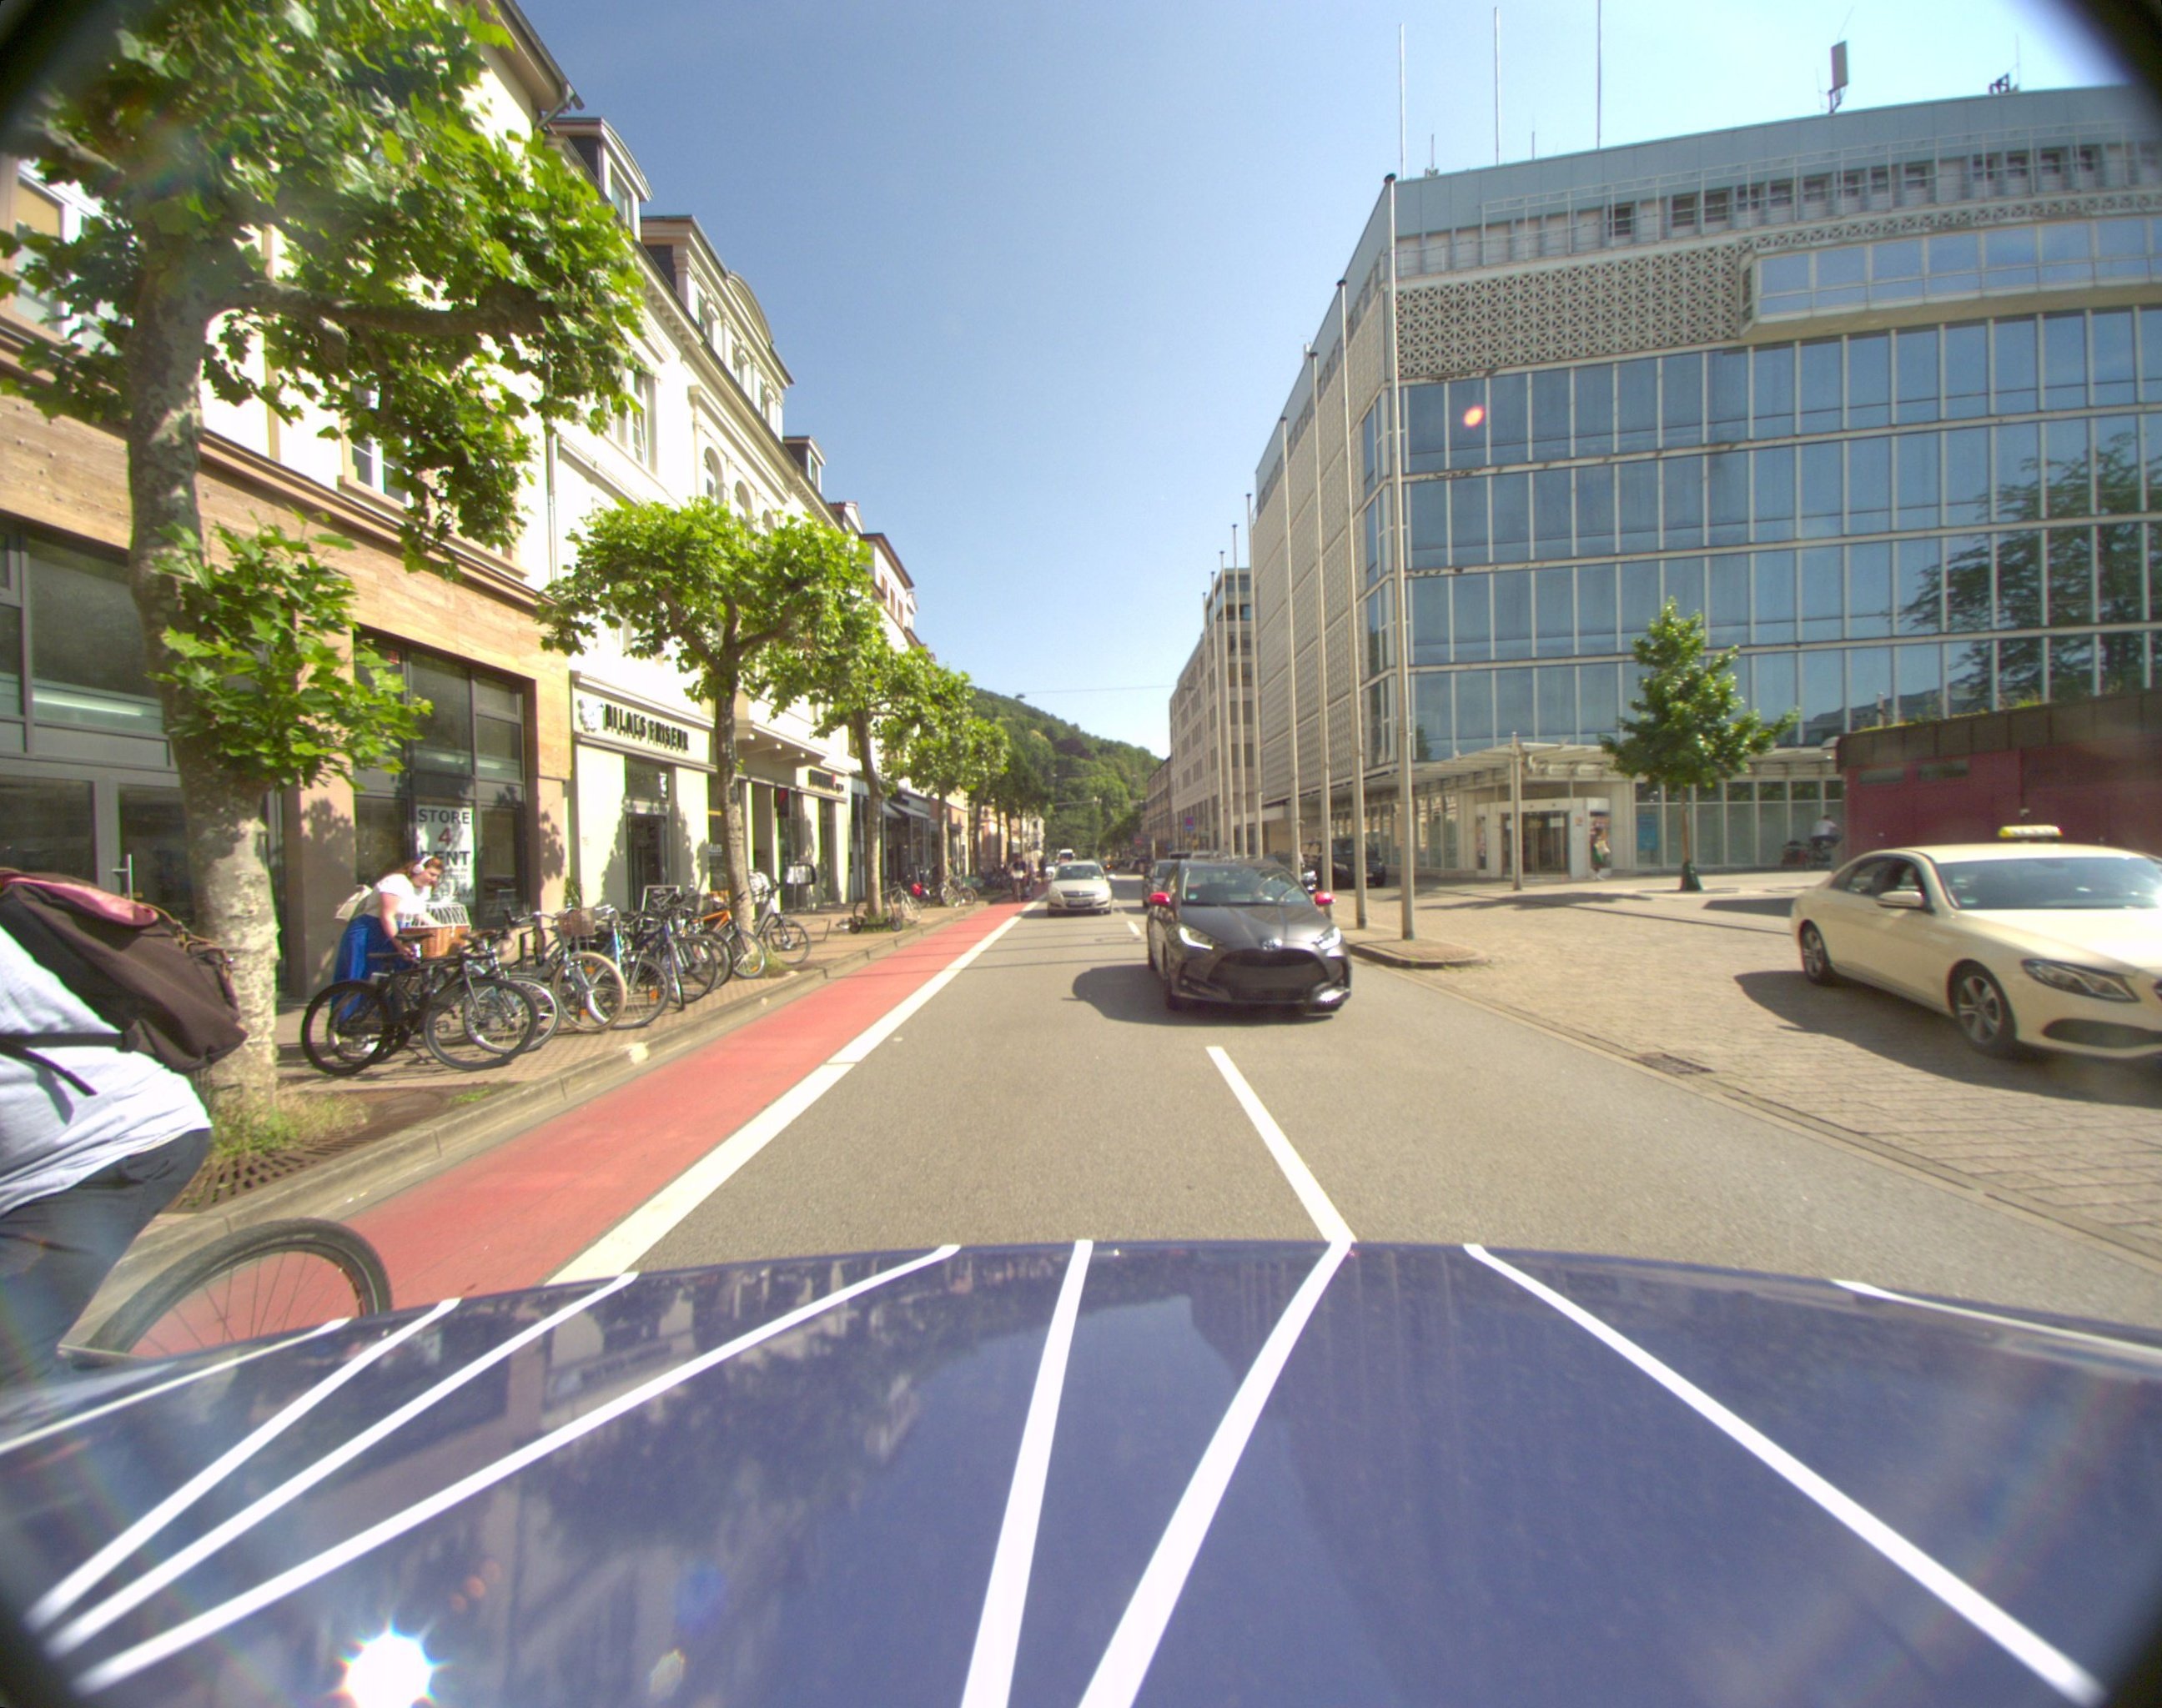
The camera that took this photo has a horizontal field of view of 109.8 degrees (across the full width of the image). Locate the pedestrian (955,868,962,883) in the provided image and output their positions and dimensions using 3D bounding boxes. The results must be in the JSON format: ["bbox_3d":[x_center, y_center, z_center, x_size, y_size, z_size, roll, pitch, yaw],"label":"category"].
[{"bbox_3d":[-7.856,1.391,48.750,0.365,0.962,0.437,-2,0,2],"label":"pedestrian"}]

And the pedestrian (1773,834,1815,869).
[{"bbox_3d":[24.314,-0.082,25.924,0.778,1.140,0.652,-2,1,-2],"label":"pedestrian"}]

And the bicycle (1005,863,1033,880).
[{"bbox_3d":[-4.283,1.200,52.510,1.844,1.120,0.643,-1,1,2],"label":"bicycle"}]

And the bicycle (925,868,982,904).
[{"bbox_3d":[-4.551,1.149,27.185,1.843,1.190,0.674,-2,1,8],"label":"bicycle"}]

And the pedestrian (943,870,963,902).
[{"bbox_3d":[-5.158,1.280,30.679,0.641,1.226,0.596,-3,2,-2],"label":"pedestrian"}]

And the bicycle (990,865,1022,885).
[{"bbox_3d":[-4.370,1.210,44.262,1.841,1.120,0.449,-1,2,28],"label":"bicycle"}]

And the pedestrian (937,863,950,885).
[{"bbox_3d":[-8.556,1.223,47.134,0.683,1.325,0.532,-2,0,-2],"label":"pedestrian"}]

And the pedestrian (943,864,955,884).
[{"bbox_3d":[-8.499,1.258,48.874,0.641,1.246,0.608,0,2,-2],"label":"pedestrian"}]

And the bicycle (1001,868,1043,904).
[{"bbox_3d":[-2.197,1.166,28.555,0.733,1.261,2.285,-3,-1,16],"label":"bicycle"}]

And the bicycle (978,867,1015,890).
[{"bbox_3d":[-4.476,1.268,40.166,1.846,1.087,0.564,-3,1,-10],"label":"bicycle"}]

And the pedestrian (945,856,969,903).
[{"bbox_3d":[-4.587,0.951,28.150,0.641,1.679,0.843,-4,0,-2],"label":"pedestrian"}]

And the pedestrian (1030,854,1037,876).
[{"bbox_3d":[-3.873,0.930,62.428,0.453,1.784,0.608,-3,0,-2],"label":"pedestrian"}]

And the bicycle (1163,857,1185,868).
[{"bbox_3d":[9.427,0.862,76.681,2.059,1.120,0.648,-2,0,27],"label":"bicycle"}]

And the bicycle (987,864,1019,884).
[{"bbox_3d":[-4.709,1.208,46.026,1.844,1.120,0.448,-1,2,3],"label":"bicycle"}]

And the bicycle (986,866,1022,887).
[{"bbox_3d":[-4.251,1.241,41.877,1.844,1.087,0.564,-3,1,1],"label":"bicycle"}]

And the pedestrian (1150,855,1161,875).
[{"bbox_3d":[5.766,0.867,58.854,0.641,1.550,0.680,-3,0,-11],"label":"pedestrian"}]

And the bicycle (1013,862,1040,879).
[{"bbox_3d":[-3.919,1.172,54.407,1.844,1.120,0.666,-1,1,2],"label":"bicycle"}]

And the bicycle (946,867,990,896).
[{"bbox_3d":[-4.967,1.214,33.551,1.783,1.190,0.576,-3,1,-27],"label":"bicycle"}]

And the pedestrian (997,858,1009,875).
[{"bbox_3d":[-7.697,1.219,74.886,0.904,1.603,0.974,-1,4,-28],"label":"pedestrian"}]

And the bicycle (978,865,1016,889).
[{"bbox_3d":[-4.383,1.205,39.665,1.846,1.120,0.632,-4,1,-10],"label":"bicycle"}]

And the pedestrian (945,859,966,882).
[{"bbox_3d":[-8.590,1.133,51.915,1.255,1.475,0.837,-2,1,-2],"label":"pedestrian"}]

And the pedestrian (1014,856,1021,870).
[{"bbox_3d":[-7.752,1.097,92.688,0.840,1.781,0.767,-1,1,1],"label":"pedestrian"}]

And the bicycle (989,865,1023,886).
[{"bbox_3d":[-4.263,1.198,43.232,1.849,1.120,0.592,-2,2,-35],"label":"bicycle"}]

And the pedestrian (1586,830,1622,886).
[{"bbox_3d":[16.397,0.125,23.820,0.684,1.705,0.723,-1,1,10],"label":"pedestrian"}]

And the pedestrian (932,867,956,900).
[{"bbox_3d":[-5.408,1.166,29.980,0.789,1.236,0.576,-3,2,-2],"label":"pedestrian"}]

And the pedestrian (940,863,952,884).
[{"bbox_3d":[-8.470,1.213,47.730,0.683,1.330,0.532,-1,0,-2],"label":"pedestrian"}]

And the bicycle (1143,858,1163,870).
[{"bbox_3d":[7.170,0.973,76.025,0.606,1.166,2.059,-4,1,-45],"label":"bicycle"}]

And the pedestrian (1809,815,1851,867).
[{"bbox_3d":[25.940,-0.452,26.313,0.778,1.755,0.652,-2,1,-2],"label":"pedestrian"}]

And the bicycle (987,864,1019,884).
[{"bbox_3d":[-4.695,1.209,45.567,1.844,1.120,0.448,-1,2,3],"label":"bicycle"}]

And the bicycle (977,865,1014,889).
[{"bbox_3d":[-4.609,1.228,40.909,1.846,1.120,0.764,-4,2,-12],"label":"bicycle"}]

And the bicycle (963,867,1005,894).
[{"bbox_3d":[-4.468,1.212,35.211,1.845,1.120,0.497,-4,-1,-7],"label":"bicycle"}]

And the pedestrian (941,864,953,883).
[{"bbox_3d":[-8.492,1.239,48.275,0.683,1.246,0.532,0,0,-2],"label":"pedestrian"}]

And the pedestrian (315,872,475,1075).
[{"bbox_3d":[-5.834,0.976,6.509,0.616,1.603,0.745,-2,1,2],"label":"pedestrian"}]

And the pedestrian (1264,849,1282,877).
[{"bbox_3d":[11.801,0.543,46.708,0.789,1.651,0.641,-4,2,-2],"label":"pedestrian"}]

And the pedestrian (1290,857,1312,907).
[{"bbox_3d":[7.882,1.000,27.262,0.531,1.782,0.540,-1,1,40],"label":"pedestrian"}]

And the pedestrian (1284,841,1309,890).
[{"bbox_3d":[7.994,0.419,28.157,0.618,1.782,0.694,-1,1,40],"label":"pedestrian"}]

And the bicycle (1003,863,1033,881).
[{"bbox_3d":[-4.195,1.213,50.650,1.844,1.120,0.666,-1,1,2],"label":"bicycle"}]
